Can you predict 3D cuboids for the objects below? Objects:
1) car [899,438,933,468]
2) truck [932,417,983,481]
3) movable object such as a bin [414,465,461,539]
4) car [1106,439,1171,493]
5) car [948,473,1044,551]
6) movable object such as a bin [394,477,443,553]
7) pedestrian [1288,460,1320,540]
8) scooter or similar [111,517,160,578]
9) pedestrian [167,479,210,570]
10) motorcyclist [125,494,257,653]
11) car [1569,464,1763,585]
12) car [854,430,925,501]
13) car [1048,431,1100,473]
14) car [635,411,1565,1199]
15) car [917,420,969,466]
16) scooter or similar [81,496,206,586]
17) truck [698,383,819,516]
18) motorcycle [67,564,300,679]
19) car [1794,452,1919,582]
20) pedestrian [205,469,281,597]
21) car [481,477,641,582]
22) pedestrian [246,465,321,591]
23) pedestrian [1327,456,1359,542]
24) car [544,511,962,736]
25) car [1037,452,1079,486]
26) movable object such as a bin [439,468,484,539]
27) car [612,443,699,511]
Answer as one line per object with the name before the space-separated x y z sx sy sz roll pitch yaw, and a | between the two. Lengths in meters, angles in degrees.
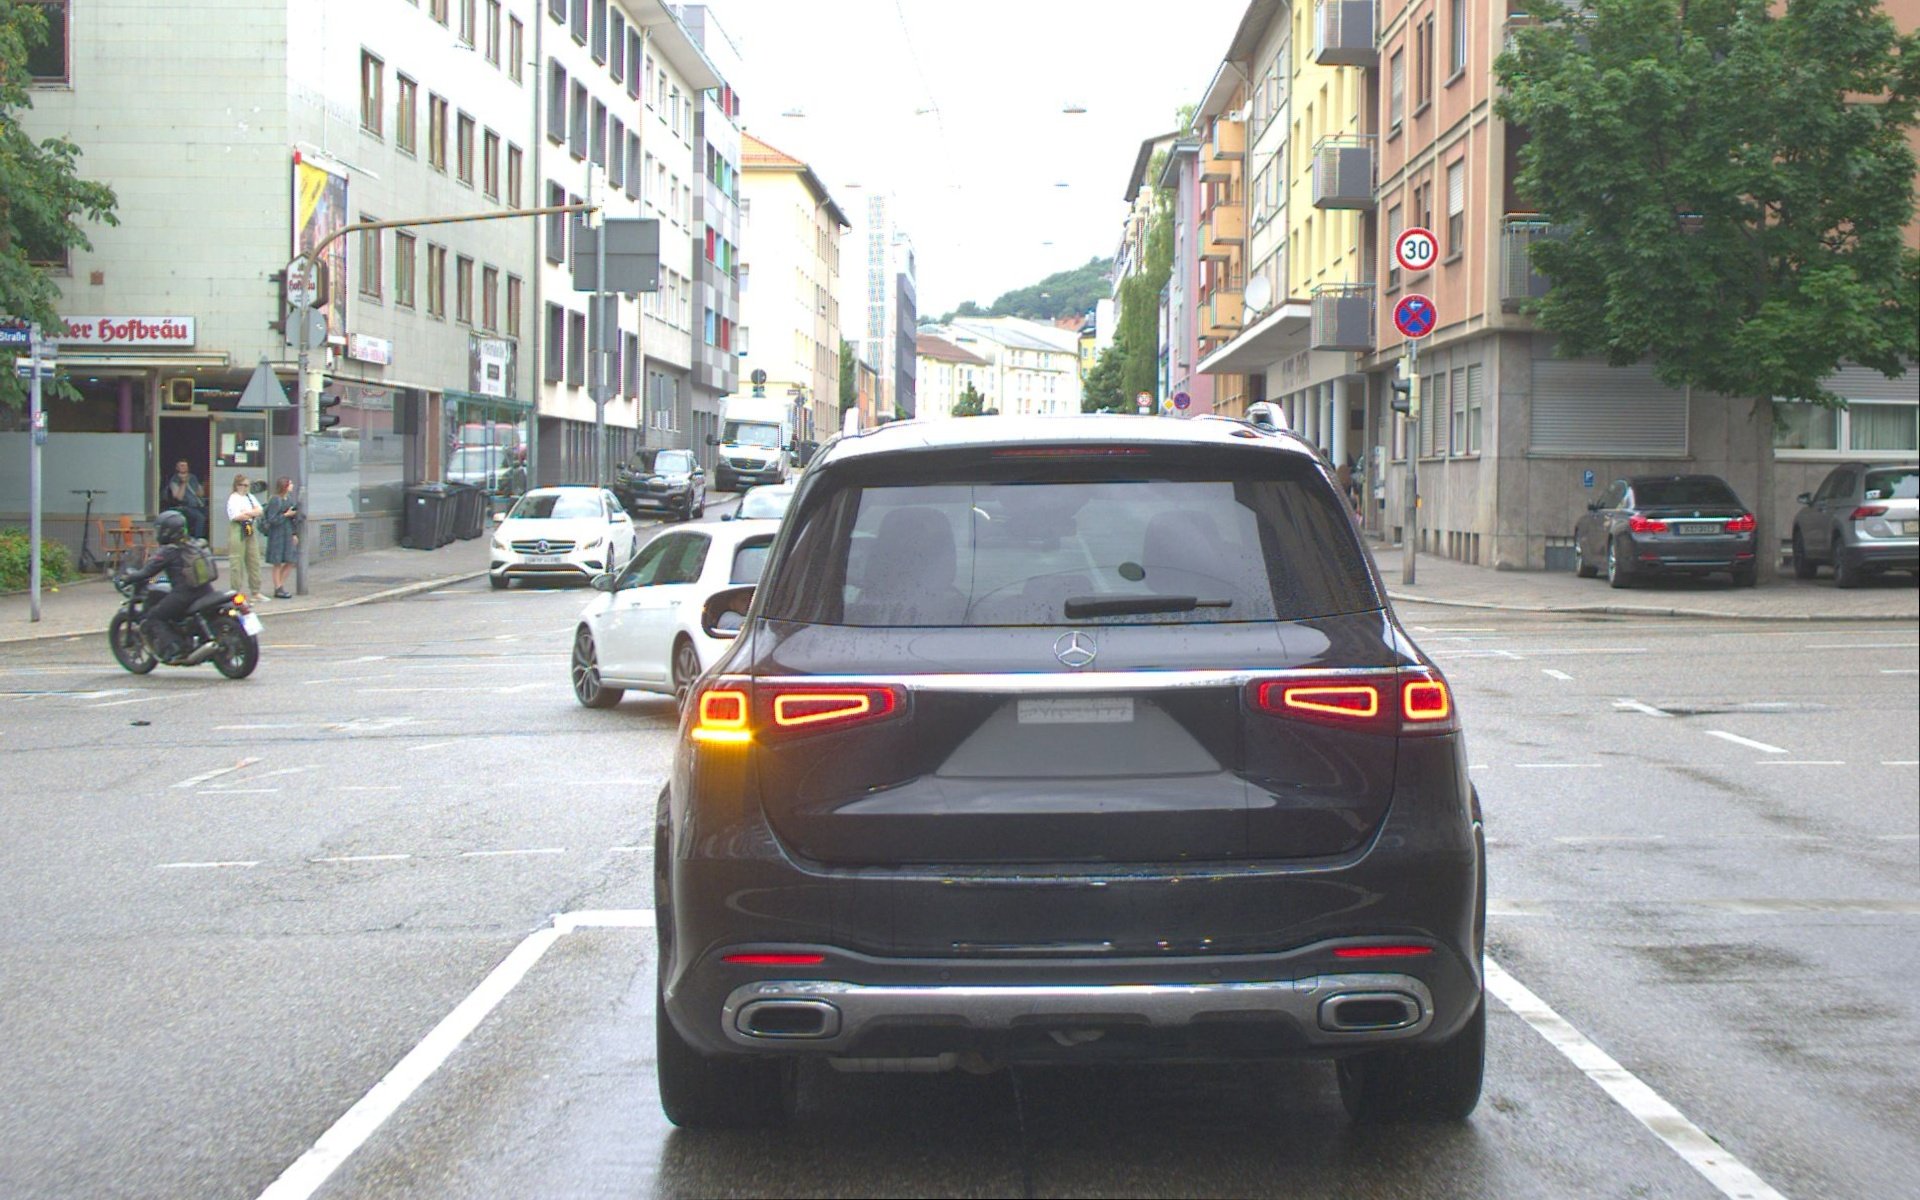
car | -2.576 -8.616 201.469 1.844 1.668 4.000 0 1 2
truck | -0.144 -9.693 221.617 2.808 3.819 8.144 2 1 3
movable object such as a bin | -9.490 -1.781 62.430 0.697 1.311 0.782 2 1 0
car | 5.818 -4.340 111.752 2.016 1.557 5.154 2 1 3
car | 0.741 -1.747 68.307 1.844 1.484 4.000 0 1 1
movable object such as a bin | -9.524 -1.491 60.512 0.697 1.311 0.782 2 1 0
pedestrian | 6.756 -1.969 67.603 0.520 1.533 0.569 2 5 1
scooter or similar | -11.782 -0.758 49.114 0.458 0.840 1.323 2 1 -22
pedestrian | -12.011 -1.175 53.548 0.518 1.395 0.578 2 1 -3
motorcyclist | -7.106 -0.257 31.778 0.746 1.448 0.905 1 2 39
car | 9.489 -1.050 46.540 1.844 1.549 4.796 0 2 3
car | -2.283 -4.367 112.437 2.065 2.233 4.620 0 1 2
car | 4.779 -6.153 143.558 2.016 1.557 4.000 2 1 3
car | 0.239 0.401 9.858 2.020 1.733 4.748 0 1 -2
car | -0.646 -6.004 131.476 1.844 1.668 4.000 0 1 2
scooter or similar | -11.212 -0.807 47.216 1.556 1.186 0.501 2 1 -28
truck | -6.244 -4.635 107.512 2.808 3.819 8.144 2 1 3
motorcycle | -7.207 0.180 31.854 2.249 1.003 0.863 1 2 38
car | 12.421 -1.126 45.944 1.987 1.655 3.999 0 2 7
pedestrian | -9.539 -0.896 45.733 0.708 1.641 0.759 -1 5 -35
car | -5.987 -1.092 51.964 1.844 1.507 4.000 -1 2 1
pedestrian | -9.168 -0.979 46.578 0.708 1.641 0.759 -1 5 -35
pedestrian | 7.184 -1.901 64.488 0.479 1.560 0.558 2 5 1
car | -1.665 0.101 25.935 1.830 1.456 4.380 -3 3 -22
car | 5.083 -6.755 177.551 2.016 1.557 4.000 2 1 3
movable object such as a bin | -9.443 -1.825 65.166 0.697 1.311 0.782 2 1 0
car | -7.312 -2.944 82.916 1.723 1.597 4.000 0 1 0
